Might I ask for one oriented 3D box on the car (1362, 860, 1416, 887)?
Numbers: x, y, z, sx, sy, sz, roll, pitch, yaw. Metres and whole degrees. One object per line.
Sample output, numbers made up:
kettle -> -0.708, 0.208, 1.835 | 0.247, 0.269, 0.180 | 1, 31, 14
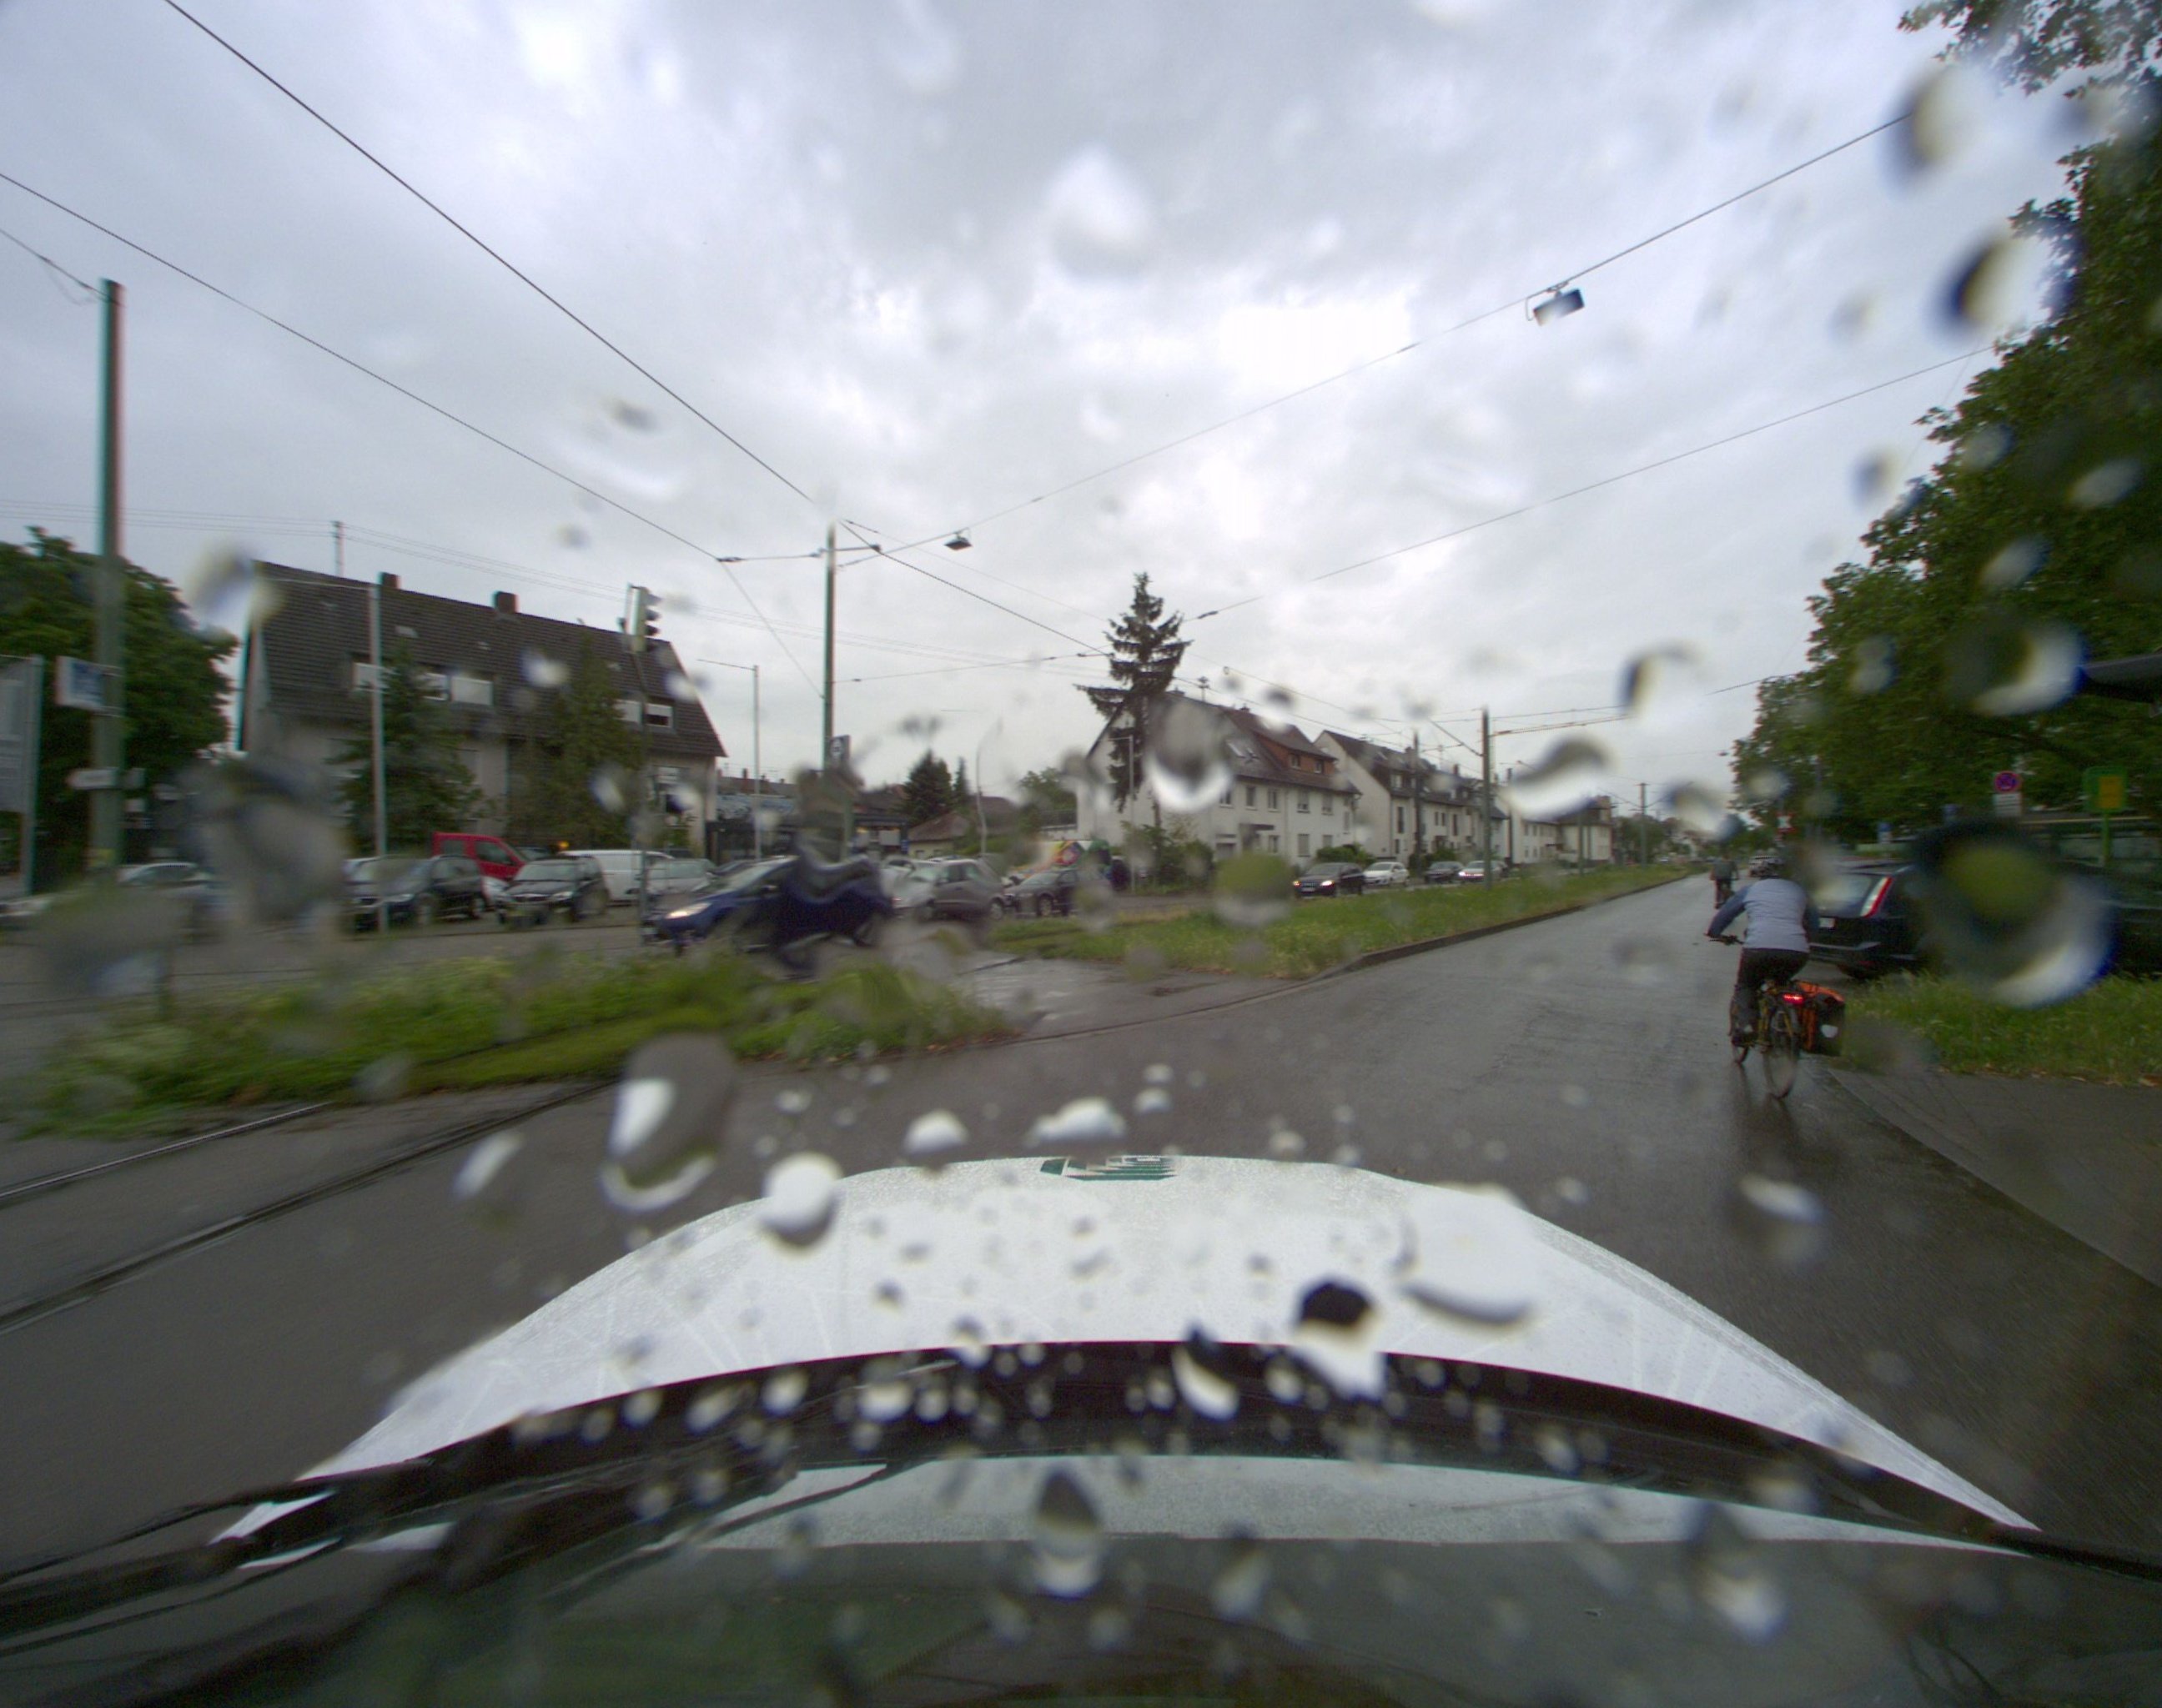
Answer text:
car -> 17.558, 1.144, 46.355 | 1.585, 1.424, 3.967 | -1, -3, 41

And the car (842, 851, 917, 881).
car -> -10.767, 0.642, 43.482 | 3.948, 1.498, 1.798 | -1, -3, 38

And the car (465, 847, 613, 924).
car -> -13.443, 0.729, 20.513 | 1.998, 1.717, 3.977 | -1, 0, -17

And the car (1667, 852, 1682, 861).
car -> 115.815, 0.529, 159.028 | 1.974, 1.544, 4.024 | -1, -3, 42

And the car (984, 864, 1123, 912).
car -> -0.748, 1.051, 25.182 | 1.701, 1.339, 4.415 | -1, -3, 42

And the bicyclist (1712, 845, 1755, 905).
bicyclist -> 17.425, 0.552, 21.769 | 0.823, 1.558, 0.919 | -2, -2, 38

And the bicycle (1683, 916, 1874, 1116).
bicycle -> 5.099, 1.084, 6.095 | 0.745, 1.073, 1.939 | -1, 0, 31

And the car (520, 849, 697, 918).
car -> -14.911, 0.866, 25.871 | 1.975, 2.014, 4.474 | -2, -1, 42

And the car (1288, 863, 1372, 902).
car -> 10.111, 1.169, 32.902 | 1.720, 1.486, 4.024 | -1, -3, 42

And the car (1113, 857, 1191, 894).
car -> 3.611, 1.029, 40.937 | 1.974, 1.564, 3.920 | 0, 3, 40

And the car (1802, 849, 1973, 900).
car -> 25.902, 0.663, 26.288 | 3.561, 1.480, 1.644 | -2, -1, 14

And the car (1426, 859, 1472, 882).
car -> 24.846, 1.140, 54.895 | 1.585, 1.424, 4.695 | -1, -3, 41

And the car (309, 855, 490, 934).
car -> -15.482, 0.841, 18.784 | 1.806, 1.578, 3.850 | -1, 0, -17

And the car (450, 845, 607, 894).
car -> -20.354, 0.538, 30.150 | 1.975, 1.687, 4.474 | -2, -1, 42

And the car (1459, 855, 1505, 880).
car -> 24.919, 0.873, 50.563 | 1.585, 1.424, 3.843 | -1, -3, 41

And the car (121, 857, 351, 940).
car -> -18.152, 0.864, 17.785 | 1.806, 1.578, 3.850 | -1, 0, -17

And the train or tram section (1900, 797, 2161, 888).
train or tram section -> 43.929, -0.400, 34.716 | 2.700, 3.590, 14.721 | 1, -1, -3

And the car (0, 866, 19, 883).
car -> -128.831, 2.423, 97.574 | 3.948, 2.014, 1.845 | -1, -3, 38

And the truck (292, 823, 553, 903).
truck -> -20.286, 0.241, 25.564 | 6.121, 2.272, 1.981 | -1, -1, -30

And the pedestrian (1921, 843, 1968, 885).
pedestrian -> 36.741, 0.427, 34.674 | 1.035, 1.714, 1.087 | -2, -1, 28

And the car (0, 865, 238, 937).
car -> -24.532, 1.111, 20.698 | 1.786, 1.578, 3.892 | -1, 0, 21

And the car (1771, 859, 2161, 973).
car -> 13.089, 0.833, 11.722 | 4.505, 1.476, 1.810 | -1, 0, 11

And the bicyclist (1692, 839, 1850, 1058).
bicyclist -> 5.101, 0.642, 6.084 | 0.743, 1.485, 0.852 | -1, 0, 31

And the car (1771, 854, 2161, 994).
car -> 11.117, 0.759, 9.657 | 4.137, 1.476, 1.809 | -1, 0, 10

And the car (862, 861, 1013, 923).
car -> -3.754, 0.992, 21.725 | 1.701, 1.504, 3.665 | -1, -3, 42

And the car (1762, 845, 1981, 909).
car -> 21.386, 0.640, 22.177 | 3.972, 1.553, 1.961 | -1, -2, 1

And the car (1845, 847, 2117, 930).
car -> 18.537, 0.721, 16.924 | 3.489, 1.506, 1.756 | -2, -2, 4

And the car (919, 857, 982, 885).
car -> -7.668, 0.985, 48.304 | 1.773, 1.580, 4.468 | -2, -1, 19

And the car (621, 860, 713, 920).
car -> -11.421, 0.975, 22.720 | 1.834, 1.504, 4.029 | 2, -2, -21

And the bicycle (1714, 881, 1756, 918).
bicycle -> 17.540, 1.206, 21.886 | 0.813, 0.912, 1.998 | -2, -2, 38

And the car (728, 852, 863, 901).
car -> -10.659, 0.805, 30.641 | 1.738, 1.687, 4.474 | -2, -1, 42

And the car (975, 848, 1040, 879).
car -> -3.954, 0.517, 44.455 | 1.844, 1.580, 4.421 | -2, -1, 19

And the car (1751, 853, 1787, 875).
car -> 51.484, 0.746, 60.984 | 1.935, 1.553, 4.025 | -3, -3, 39

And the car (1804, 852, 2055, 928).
car -> 20.203, 0.863, 19.545 | 3.972, 1.501, 1.825 | -3, -2, 1

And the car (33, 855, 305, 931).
car -> -21.393, 0.839, 19.320 | 1.786, 1.578, 3.892 | -1, 0, 21

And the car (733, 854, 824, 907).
car -> -9.448, 0.813, 25.295 | 1.840, 1.504, 4.017 | 2, -2, -32

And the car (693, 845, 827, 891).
car -> -12.543, 0.536, 32.049 | 1.975, 1.687, 4.474 | -2, -1, 42

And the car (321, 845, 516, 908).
car -> -18.595, 0.600, 23.124 | 3.991, 1.598, 1.981 | -1, -1, -30

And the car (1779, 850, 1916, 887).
car -> 33.667, 0.631, 35.902 | 3.963, 1.483, 2.005 | -1, 1, 9

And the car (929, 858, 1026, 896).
car -> -4.104, 0.909, 31.949 | 3.794, 1.396, 1.733 | -1, -3, 44

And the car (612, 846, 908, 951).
car -> -5.623, 0.769, 14.816 | 1.974, 1.606, 4.601 | -1, -3, 39

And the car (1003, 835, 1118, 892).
car -> -0.997, 0.475, 37.424 | 5.083, 2.406, 2.165 | -1, -3, 40

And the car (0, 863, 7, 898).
car -> -65.007, 1.545, 47.876 | 3.949, 2.014, 2.012 | -1, -3, 40

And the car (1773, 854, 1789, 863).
car -> 122.466, 0.853, 142.499 | 1.974, 1.492, 4.024 | -1, -3, 41

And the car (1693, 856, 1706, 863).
car -> 137.928, 1.235, 181.463 | 1.974, 1.544, 4.024 | -1, -3, 42

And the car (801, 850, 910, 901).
car -> -7.747, 0.703, 27.815 | 3.822, 1.578, 1.819 | -1, 0, 42

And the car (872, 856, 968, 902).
car -> -5.985, 0.927, 30.131 | 3.571, 1.573, 1.733 | -1, -3, 44

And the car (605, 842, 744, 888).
car -> -15.932, 0.420, 32.069 | 1.975, 1.687, 4.474 | -2, -1, 42
